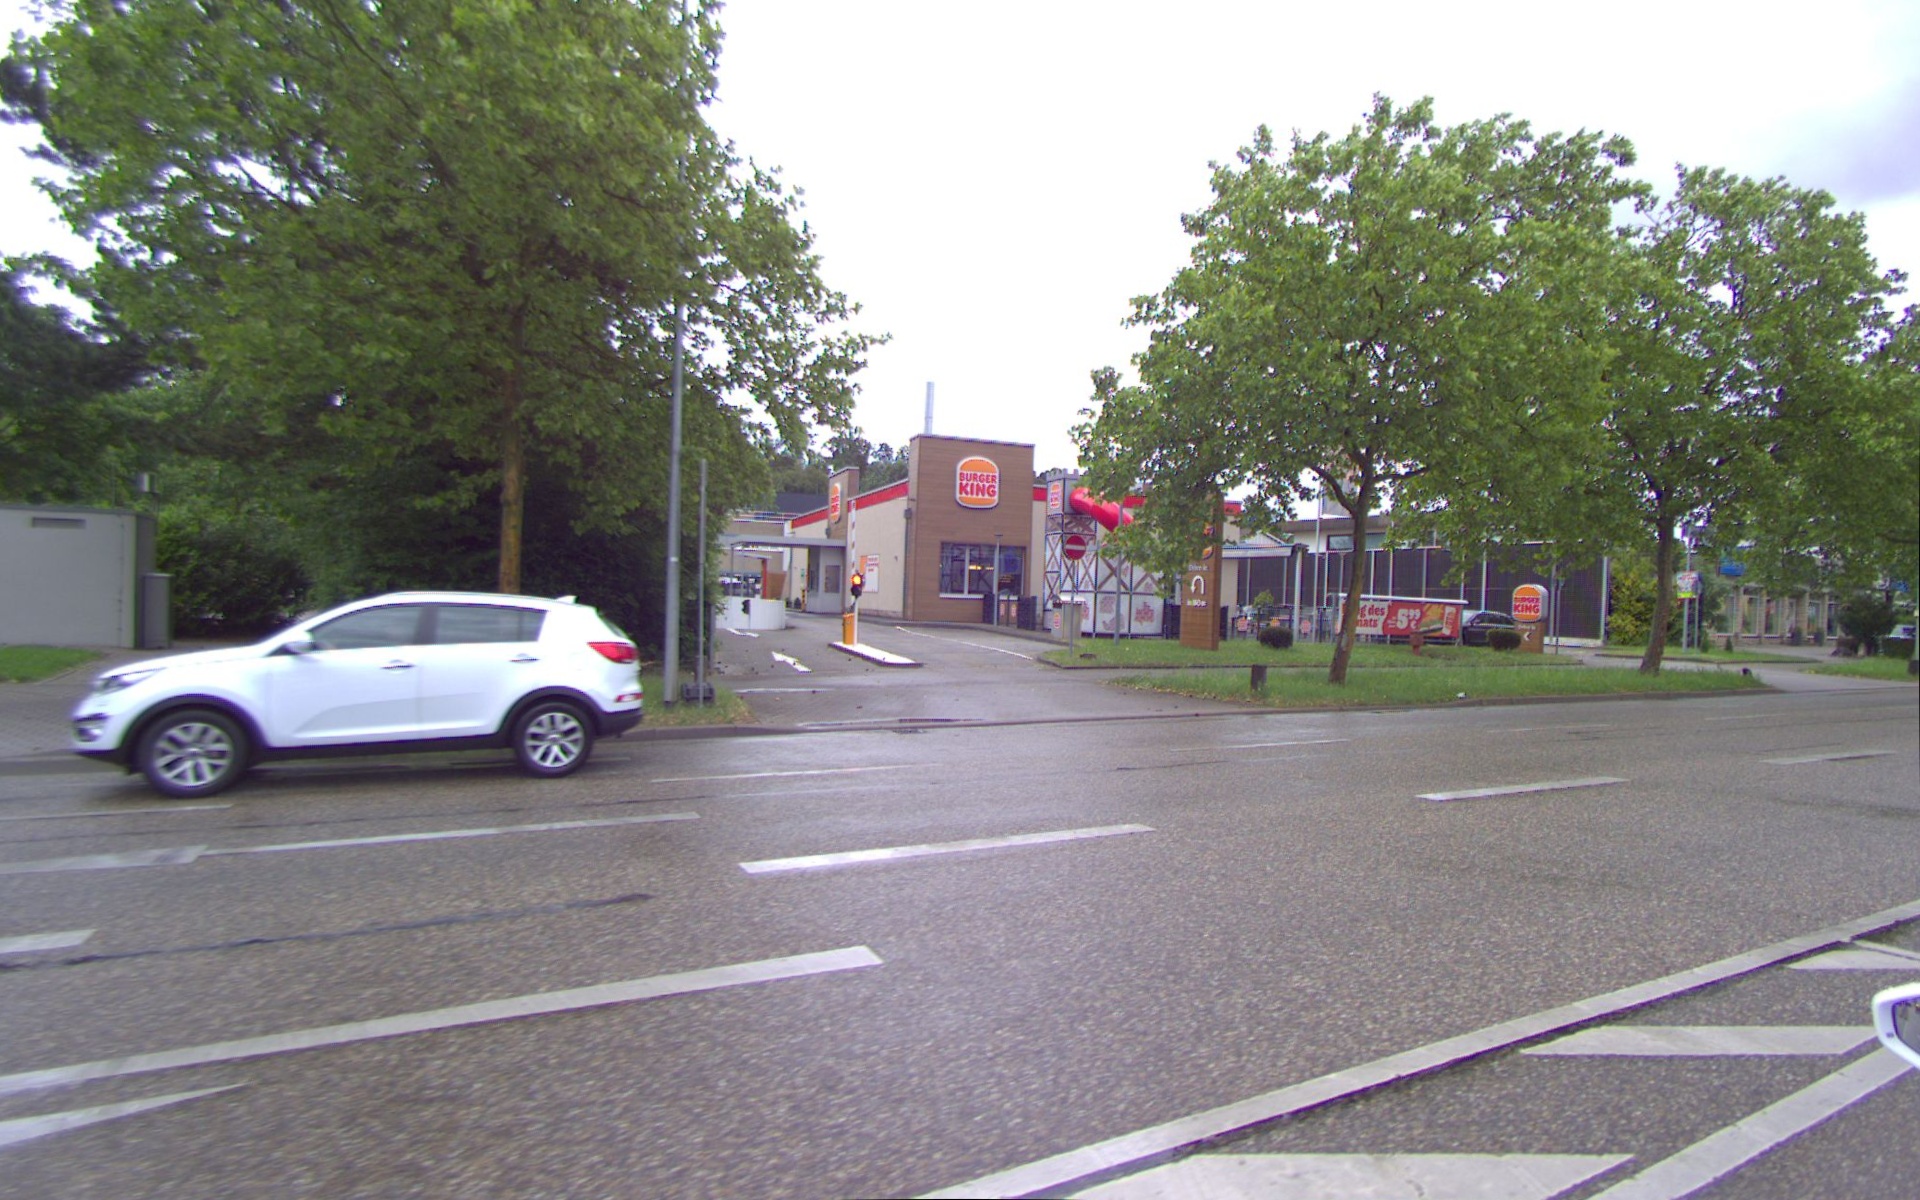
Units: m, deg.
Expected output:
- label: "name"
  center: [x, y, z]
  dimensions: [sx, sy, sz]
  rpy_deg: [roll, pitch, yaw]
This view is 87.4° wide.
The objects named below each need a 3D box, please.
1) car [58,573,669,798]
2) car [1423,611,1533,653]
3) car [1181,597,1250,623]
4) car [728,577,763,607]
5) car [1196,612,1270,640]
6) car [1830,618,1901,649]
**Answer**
- label: "car"
  center: [-5.104, 0.698, 9.233]
  dimensions: [4.345, 1.641, 1.920]
  rpy_deg: [2, -1, -29]
- label: "car"
  center: [17.327, 1.054, 33.755]
  dimensions: [1.272, 1.171, 3.167]
  rpy_deg: [1, 2, -23]
- label: "car"
  center: [17.465, 0.710, 68.657]
  dimensions: [4.250, 1.660, 1.862]
  rpy_deg: [1, 0, -20]
- label: "car"
  center: [-13.585, -0.473, 63.449]
  dimensions: [1.633, 1.764, 3.600]
  rpy_deg: [1, -1, -21]
- label: "car"
  center: [17.349, 1.632, 63.791]
  dimensions: [4.250, 1.660, 1.862]
  rpy_deg: [1, 0, -20]
- label: "car"
  center: [46.557, 1.710, 51.627]
  dimensions: [3.898, 1.506, 1.812]
  rpy_deg: [2, -1, -33]
